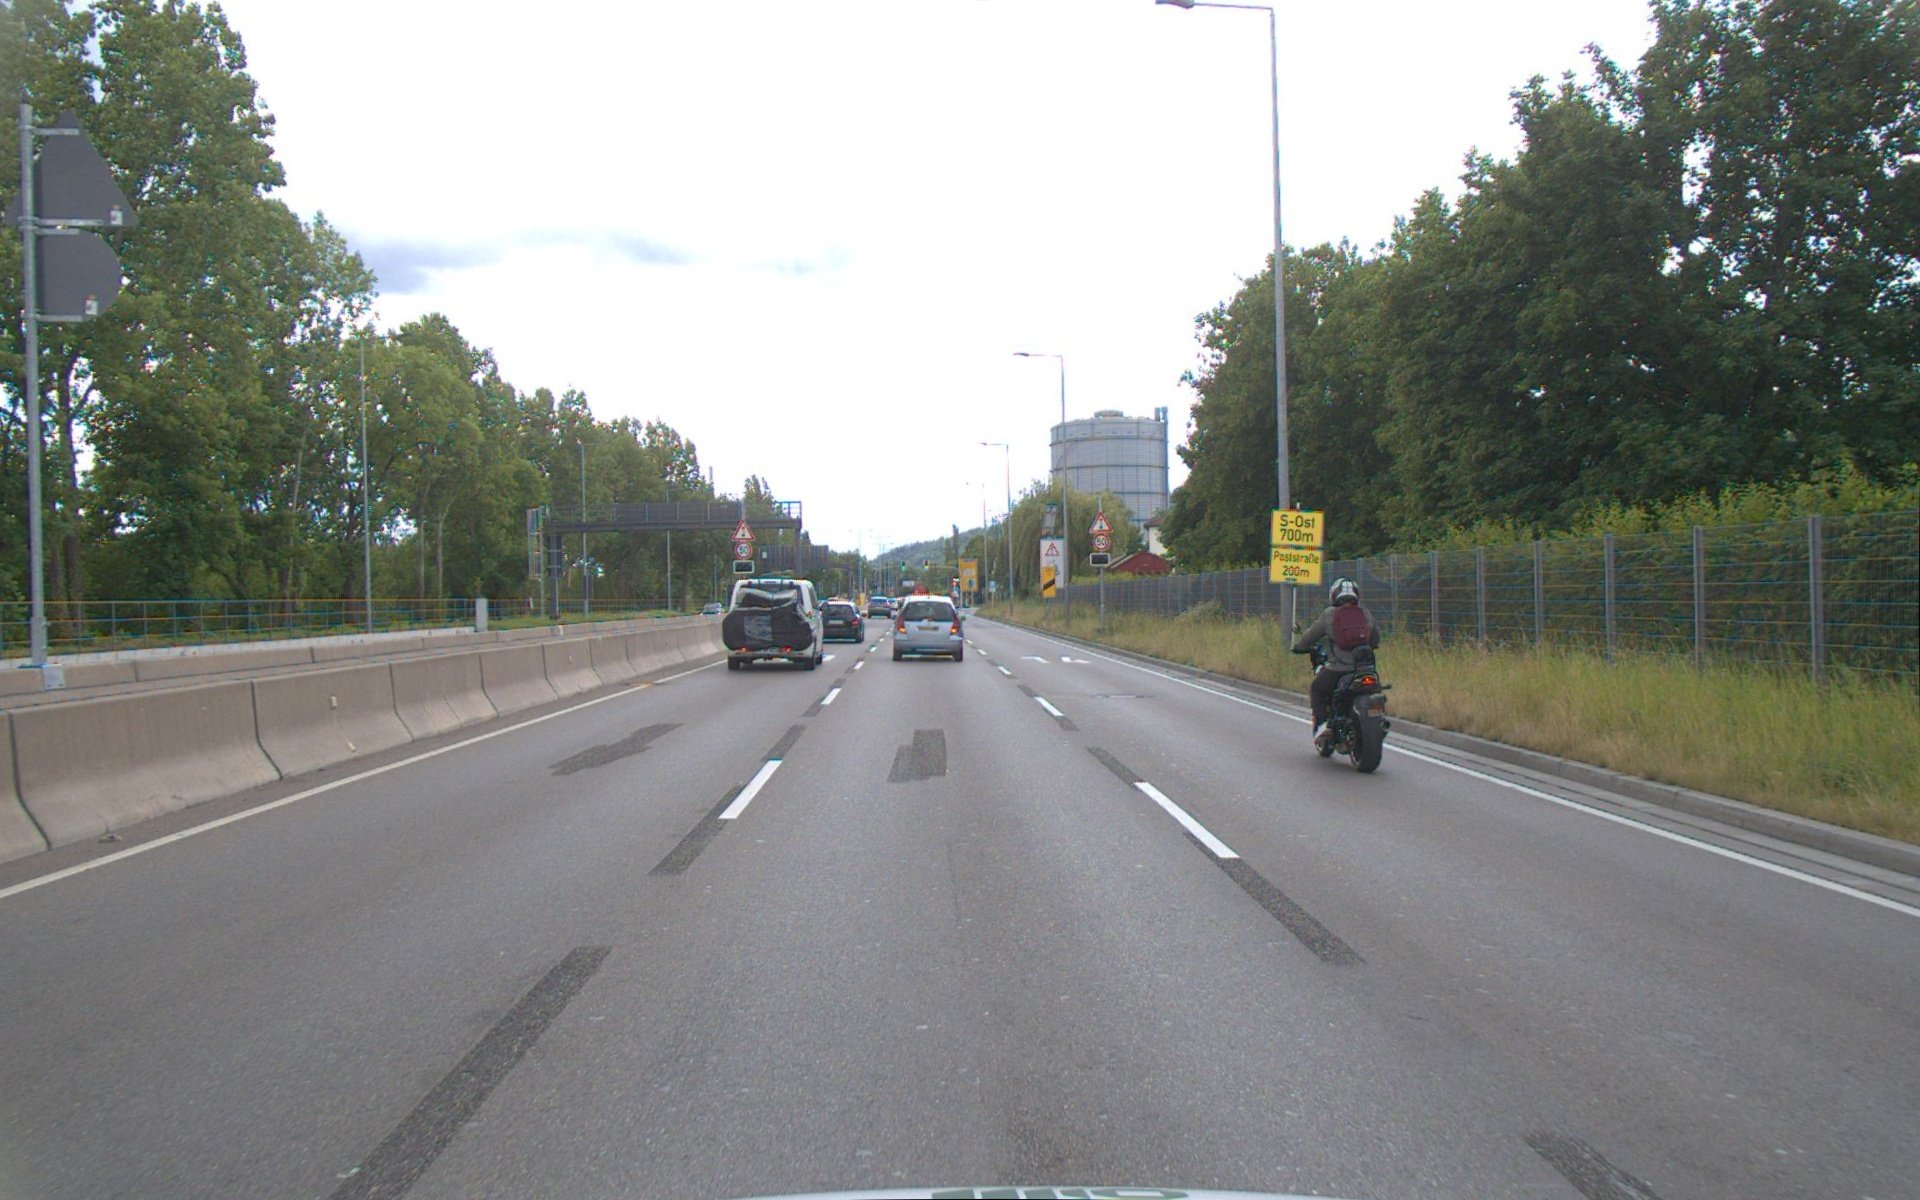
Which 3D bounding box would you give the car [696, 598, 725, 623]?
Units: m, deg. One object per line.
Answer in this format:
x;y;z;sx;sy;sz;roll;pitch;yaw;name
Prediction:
-20.990;0.878;139.108;1.954;2.049;3.998;1;0;-3;car

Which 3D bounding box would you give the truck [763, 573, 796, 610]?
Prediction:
-15.768;-0.710;144.722;2.355;3.161;7.198;1;0;-2;truck

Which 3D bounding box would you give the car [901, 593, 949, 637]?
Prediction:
-1.405;0.600;67.434;1.869;1.713;3.999;1;0;-1;car

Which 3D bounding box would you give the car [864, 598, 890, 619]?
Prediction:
-6.473;0.644;129.153;1.953;1.579;3.998;1;0;-3;car

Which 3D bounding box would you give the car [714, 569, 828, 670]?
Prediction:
-3.949;0.383;35.360;2.171;1.959;4.998;1;0;-4;car

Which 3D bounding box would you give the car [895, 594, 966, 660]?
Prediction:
-0.759;0.645;41.687;1.676;1.557;3.998;1;0;-2;car

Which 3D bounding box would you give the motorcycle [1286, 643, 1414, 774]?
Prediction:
3.555;0.958;15.234;0.692;1.058;2.027;1;0;0;motorcycle

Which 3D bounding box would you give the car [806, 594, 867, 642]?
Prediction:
-4.263;0.598;57.701;1.953;1.579;3.998;1;0;-2;car

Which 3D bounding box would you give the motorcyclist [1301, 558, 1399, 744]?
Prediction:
3.557;0.451;15.135;0.670;1.638;0.845;1;0;0;motorcyclist

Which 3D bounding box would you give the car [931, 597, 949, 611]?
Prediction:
-2.355;0.451;193.338;1.953;1.579;3.998;1;0;-3;car
